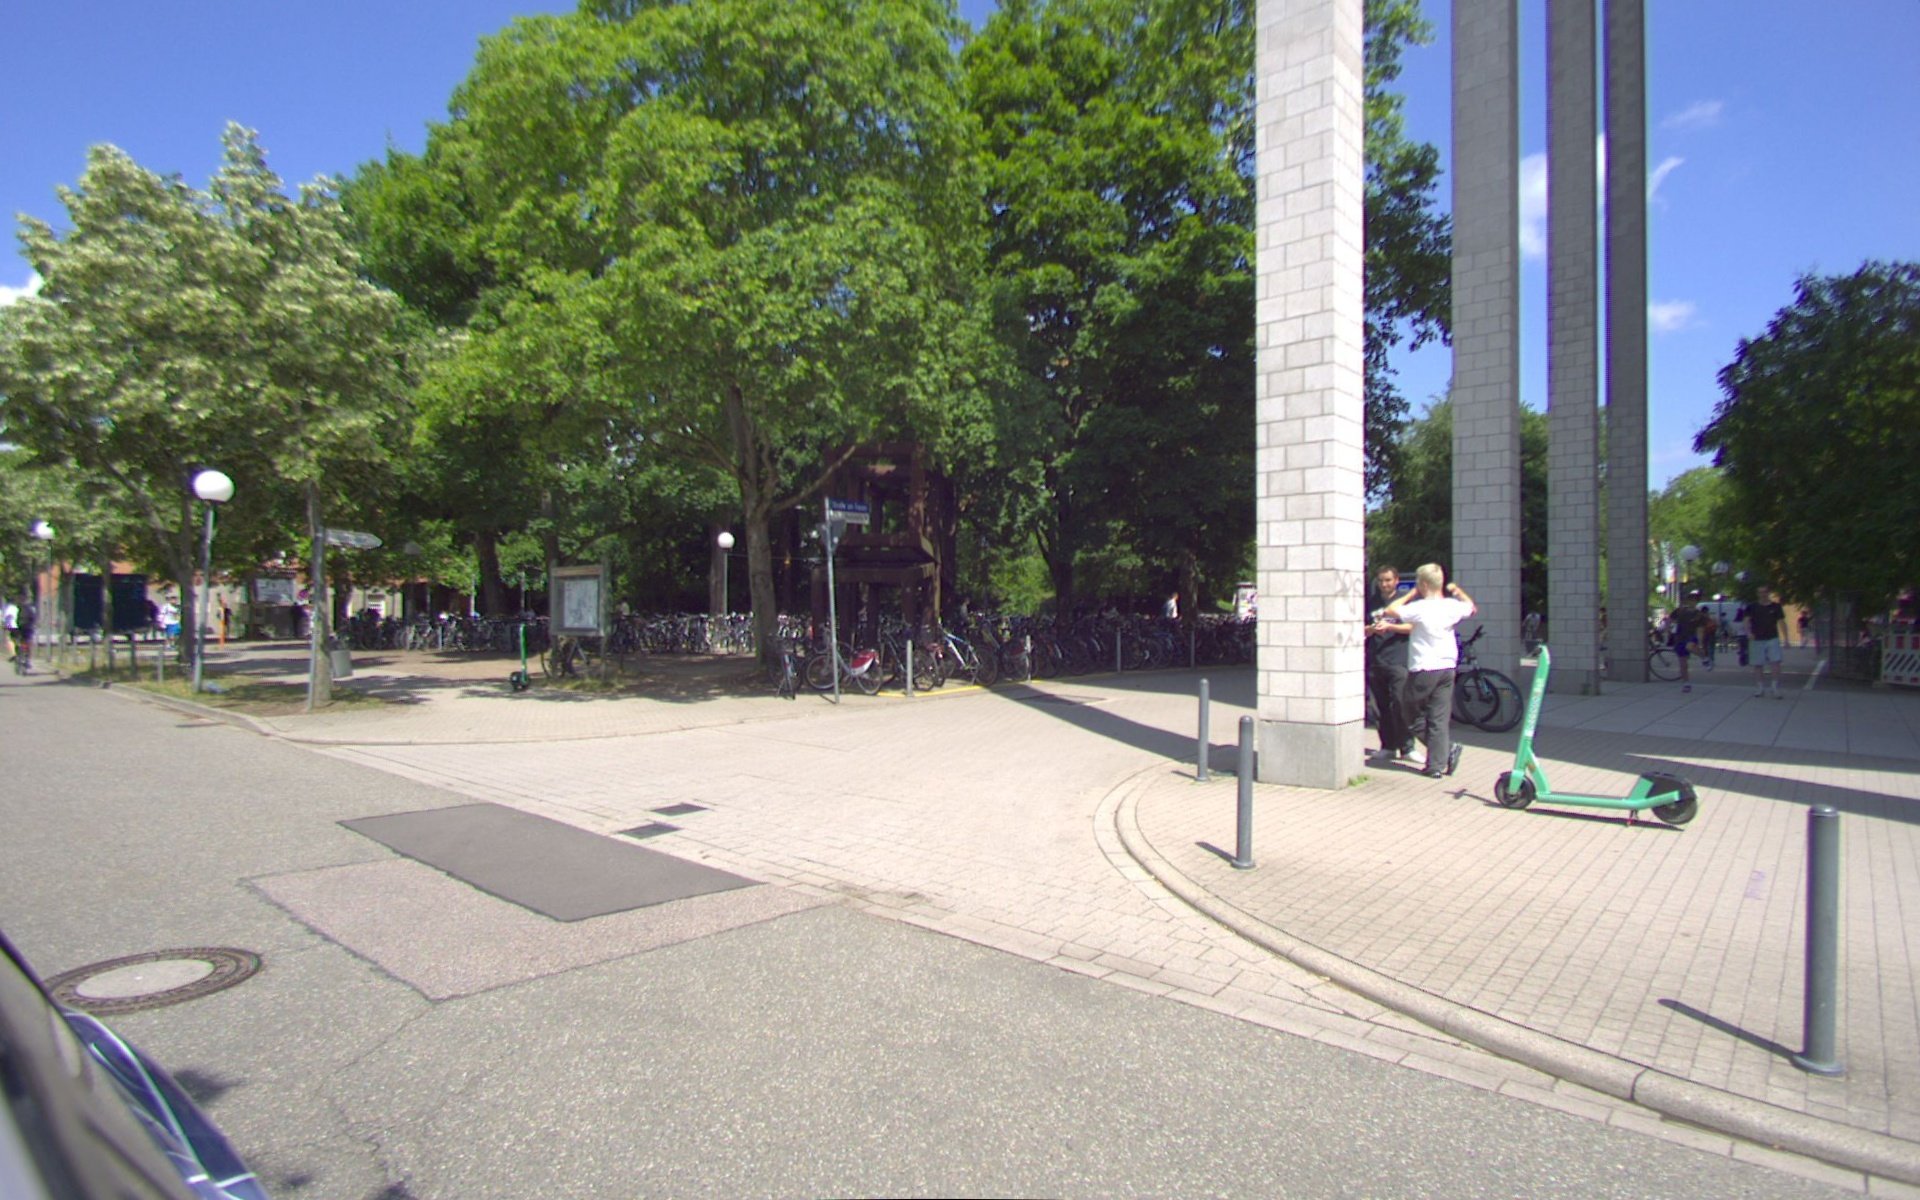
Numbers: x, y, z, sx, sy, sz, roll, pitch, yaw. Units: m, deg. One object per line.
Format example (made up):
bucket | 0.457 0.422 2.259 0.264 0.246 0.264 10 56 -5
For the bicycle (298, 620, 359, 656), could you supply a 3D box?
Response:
bicycle | -21.062 1.248 33.775 0.456 1.140 1.764 -1 -1 24

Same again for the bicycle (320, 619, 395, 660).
bicycle | -19.638 1.268 33.031 0.804 1.244 2.044 -1 0 24

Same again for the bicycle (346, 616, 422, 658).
bicycle | -18.607 1.183 32.738 0.804 1.244 2.044 -1 1 24

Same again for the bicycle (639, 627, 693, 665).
bicycle | -8.824 1.358 30.465 0.870 1.010 2.734 -1 -1 -1

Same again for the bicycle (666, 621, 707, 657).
bicycle | -9.390 1.333 34.781 0.632 1.141 2.056 -2 0 6

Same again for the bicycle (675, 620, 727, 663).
bicycle | -7.732 1.217 30.388 0.870 1.187 2.884 -1 -1 -1

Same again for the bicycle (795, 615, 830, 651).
bicycle | -4.857 1.066 33.497 0.632 1.141 2.056 -2 -1 6

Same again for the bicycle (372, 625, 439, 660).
bicycle | -17.526 1.325 32.057 0.670 1.016 2.147 -1 -1 10

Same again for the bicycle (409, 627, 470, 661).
bicycle | -16.401 1.367 31.915 0.671 1.016 1.885 -1 -1 12

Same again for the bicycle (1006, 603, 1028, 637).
bicycle | 1.995 0.699 35.227 0.632 1.141 2.056 -1 -1 6

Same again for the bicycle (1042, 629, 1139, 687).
bicycle | 2.627 1.141 20.484 1.972 1.094 0.546 -1 0 42

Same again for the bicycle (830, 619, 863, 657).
bicycle | -3.745 1.250 33.630 0.632 1.141 2.056 -2 1 6

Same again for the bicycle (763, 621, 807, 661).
bicycle | -5.101 1.175 29.677 0.870 1.084 2.684 -1 -1 -1

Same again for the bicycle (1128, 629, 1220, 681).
bicycle | 4.723 1.195 22.470 1.972 1.094 0.546 -1 0 42

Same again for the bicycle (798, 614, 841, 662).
bicycle | -4.058 1.074 29.479 0.870 1.296 2.934 -1 -1 -1

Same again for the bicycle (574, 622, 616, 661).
bicycle | -12.399 1.393 34.450 0.473 1.141 2.057 -2 2 6

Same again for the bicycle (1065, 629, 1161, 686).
bicycle | 3.122 1.154 20.808 1.972 1.094 0.546 -1 0 42

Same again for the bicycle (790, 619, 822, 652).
bicycle | -5.580 1.282 36.715 0.632 1.141 2.056 -2 -1 6

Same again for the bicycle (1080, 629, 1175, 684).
bicycle | 3.504 1.164 21.279 1.972 1.094 0.546 -1 0 42

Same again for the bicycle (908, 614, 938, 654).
bicycle | -1.205 1.099 33.399 0.666 1.141 2.057 -2 2 6

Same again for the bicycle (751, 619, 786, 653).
bicycle | -6.962 1.296 36.881 0.632 1.141 2.056 -2 -1 6

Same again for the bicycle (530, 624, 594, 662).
bicycle | -11.996 1.269 30.630 0.870 1.058 2.834 -1 -1 -1

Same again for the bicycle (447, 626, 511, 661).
bicycle | -15.104 1.350 31.837 0.671 1.016 2.146 -1 -1 11

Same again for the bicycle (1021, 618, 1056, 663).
bicycle | 2.217 1.121 28.896 0.732 1.165 2.912 -1 0 -1

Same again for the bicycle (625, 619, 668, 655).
bicycle | -10.720 1.253 34.647 0.632 1.167 2.056 -2 -1 6

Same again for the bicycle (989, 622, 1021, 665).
bicycle | 1.292 1.238 29.540 0.732 1.076 2.764 -1 1 -1

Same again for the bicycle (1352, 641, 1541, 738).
bicycle | 5.544 1.008 11.631 0.459 1.022 1.866 -1 -2 -44

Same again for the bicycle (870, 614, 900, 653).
bicycle | -2.473 1.087 33.581 0.632 1.141 2.057 -1 2 6

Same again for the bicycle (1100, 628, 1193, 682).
bicycle | 4.046 1.178 22.036 1.972 1.094 0.546 -1 0 42

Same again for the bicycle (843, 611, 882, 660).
bicycle | -2.787 0.991 29.300 0.870 1.306 3.083 -1 -1 -1

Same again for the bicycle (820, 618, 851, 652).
bicycle | -4.484 1.248 36.650 0.632 1.141 2.056 -2 -1 6

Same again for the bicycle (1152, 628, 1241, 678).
bicycle | 5.495 1.216 23.586 1.972 1.094 0.546 -1 0 42

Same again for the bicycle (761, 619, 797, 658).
bicycle | -6.103 1.283 34.204 0.632 1.141 2.057 -2 2 6

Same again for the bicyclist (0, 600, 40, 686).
bicyclist | -22.800 1.038 24.406 1.018 2.029 0.704 -1 -3 40

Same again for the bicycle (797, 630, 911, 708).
bicycle | -1.649 1.029 15.567 1.972 1.094 0.546 -1 0 42

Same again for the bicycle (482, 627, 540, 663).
bicycle | -13.836 1.357 31.279 0.668 1.016 2.651 -1 -1 -1

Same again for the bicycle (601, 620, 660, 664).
bicycle | -9.951 1.247 30.710 0.870 1.229 2.909 -1 -1 -1

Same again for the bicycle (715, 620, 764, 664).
bicycle | -6.463 1.202 29.809 0.870 1.188 2.709 -1 -1 -1

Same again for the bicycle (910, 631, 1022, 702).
bicycle | 0.067 1.073 16.769 1.972 1.094 0.546 -1 0 42

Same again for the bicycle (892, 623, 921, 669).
bicycle | -1.529 1.310 29.483 0.732 1.134 2.961 -1 1 -1

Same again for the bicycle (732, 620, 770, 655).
bicycle | -7.082 1.259 34.357 0.632 1.141 2.056 -2 -1 6

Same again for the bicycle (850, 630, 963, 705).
bicycle | -0.882 1.049 16.143 1.972 1.094 0.546 -1 0 42

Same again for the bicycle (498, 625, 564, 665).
bicycle | -12.991 1.344 30.729 0.870 1.094 2.752 -1 -1 -1

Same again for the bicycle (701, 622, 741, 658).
bicycle | -8.121 1.342 34.445 0.632 1.141 2.056 -2 -1 6

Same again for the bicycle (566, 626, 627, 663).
bicycle | -10.992 1.333 30.731 0.870 1.022 2.784 -1 -1 -1

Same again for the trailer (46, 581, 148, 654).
trailer | -38.725 0.778 45.341 6.264 3.049 2.668 -1 -1 42

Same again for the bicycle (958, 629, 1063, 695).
bicycle | 0.891 1.095 18.312 1.972 1.094 0.546 -1 0 42
